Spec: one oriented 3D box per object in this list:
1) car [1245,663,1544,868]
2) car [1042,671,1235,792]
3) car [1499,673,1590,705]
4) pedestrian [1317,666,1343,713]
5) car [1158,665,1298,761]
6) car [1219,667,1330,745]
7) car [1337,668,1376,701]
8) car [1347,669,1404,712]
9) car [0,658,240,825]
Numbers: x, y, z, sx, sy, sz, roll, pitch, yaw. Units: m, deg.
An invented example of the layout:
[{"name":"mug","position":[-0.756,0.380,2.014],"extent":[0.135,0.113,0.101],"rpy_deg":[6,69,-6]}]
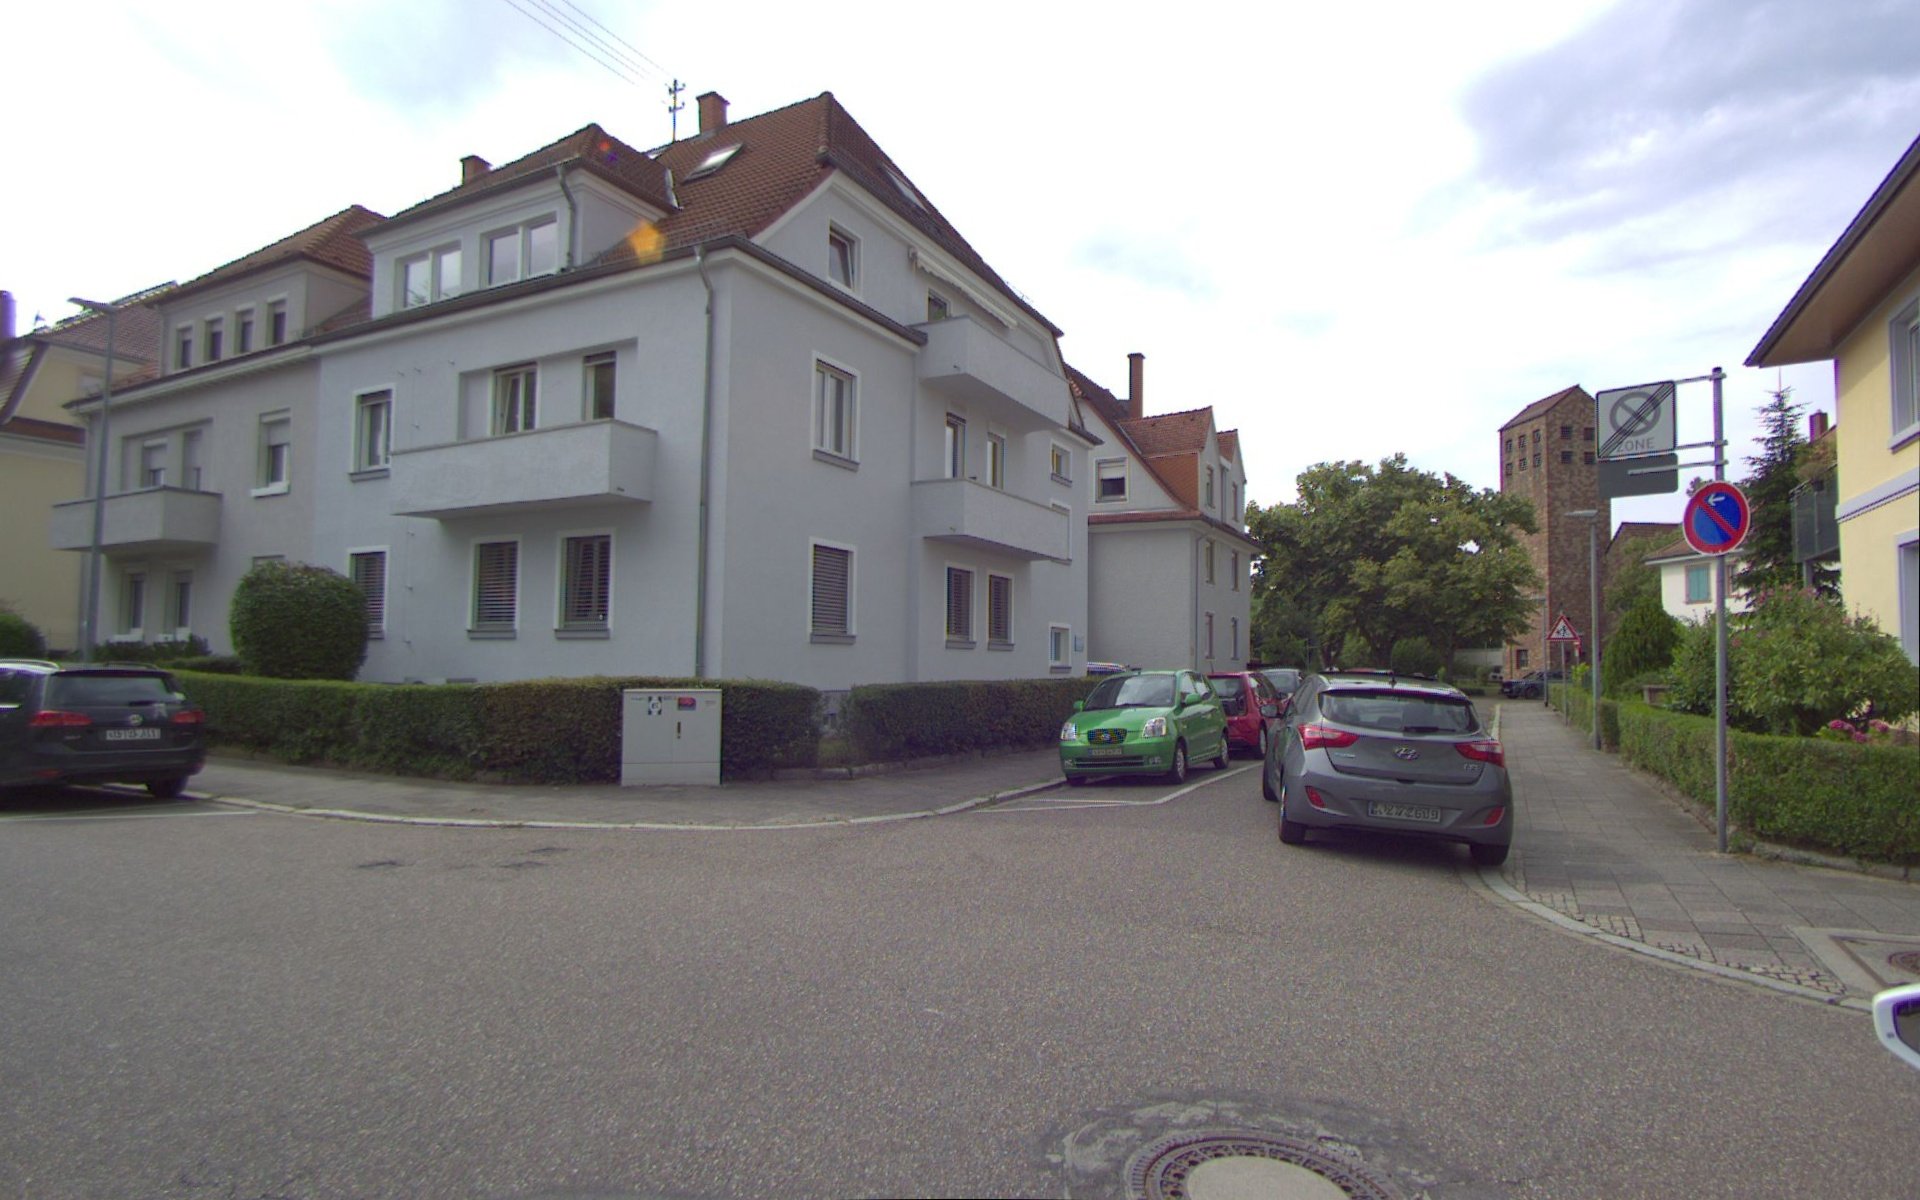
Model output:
[{"name":"car","position":[3.868,1.377,9.699],"extent":[1.817,1.500,4.046],"rpy_deg":[0,-3,11]},{"name":"car","position":[2.593,1.745,13.986],"extent":[1.621,1.440,3.478],"rpy_deg":[-5,-6,27]},{"name":"car","position":[31.171,4.739,53.701],"extent":[4.151,1.483,1.682],"rpy_deg":[-1,-2,28]},{"name":"pedestrian","position":[15.337,3.697,41.653],"extent":[0.868,1.902,1.077],"rpy_deg":[-1,-4,29]},{"name":"car","position":[4.846,1.967,17.852],"extent":[1.621,1.514,3.478],"rpy_deg":[-5,-6,27]},{"name":"car","position":[6.824,2.245,21.628],"extent":[1.621,1.514,3.478],"rpy_deg":[-5,-6,27]},{"name":"car","position":[19.116,4.061,48.376],"extent":[1.619,1.514,3.481],"rpy_deg":[-4,-5,22]},{"name":"car","position":[15.725,3.388,37.954],"extent":[1.621,1.514,3.478],"rpy_deg":[-5,-6,27]},{"name":"car","position":[-10.094,1.398,10.956],"extent":[4.097,1.490,1.859],"rpy_deg":[-1,-4,26]}]
